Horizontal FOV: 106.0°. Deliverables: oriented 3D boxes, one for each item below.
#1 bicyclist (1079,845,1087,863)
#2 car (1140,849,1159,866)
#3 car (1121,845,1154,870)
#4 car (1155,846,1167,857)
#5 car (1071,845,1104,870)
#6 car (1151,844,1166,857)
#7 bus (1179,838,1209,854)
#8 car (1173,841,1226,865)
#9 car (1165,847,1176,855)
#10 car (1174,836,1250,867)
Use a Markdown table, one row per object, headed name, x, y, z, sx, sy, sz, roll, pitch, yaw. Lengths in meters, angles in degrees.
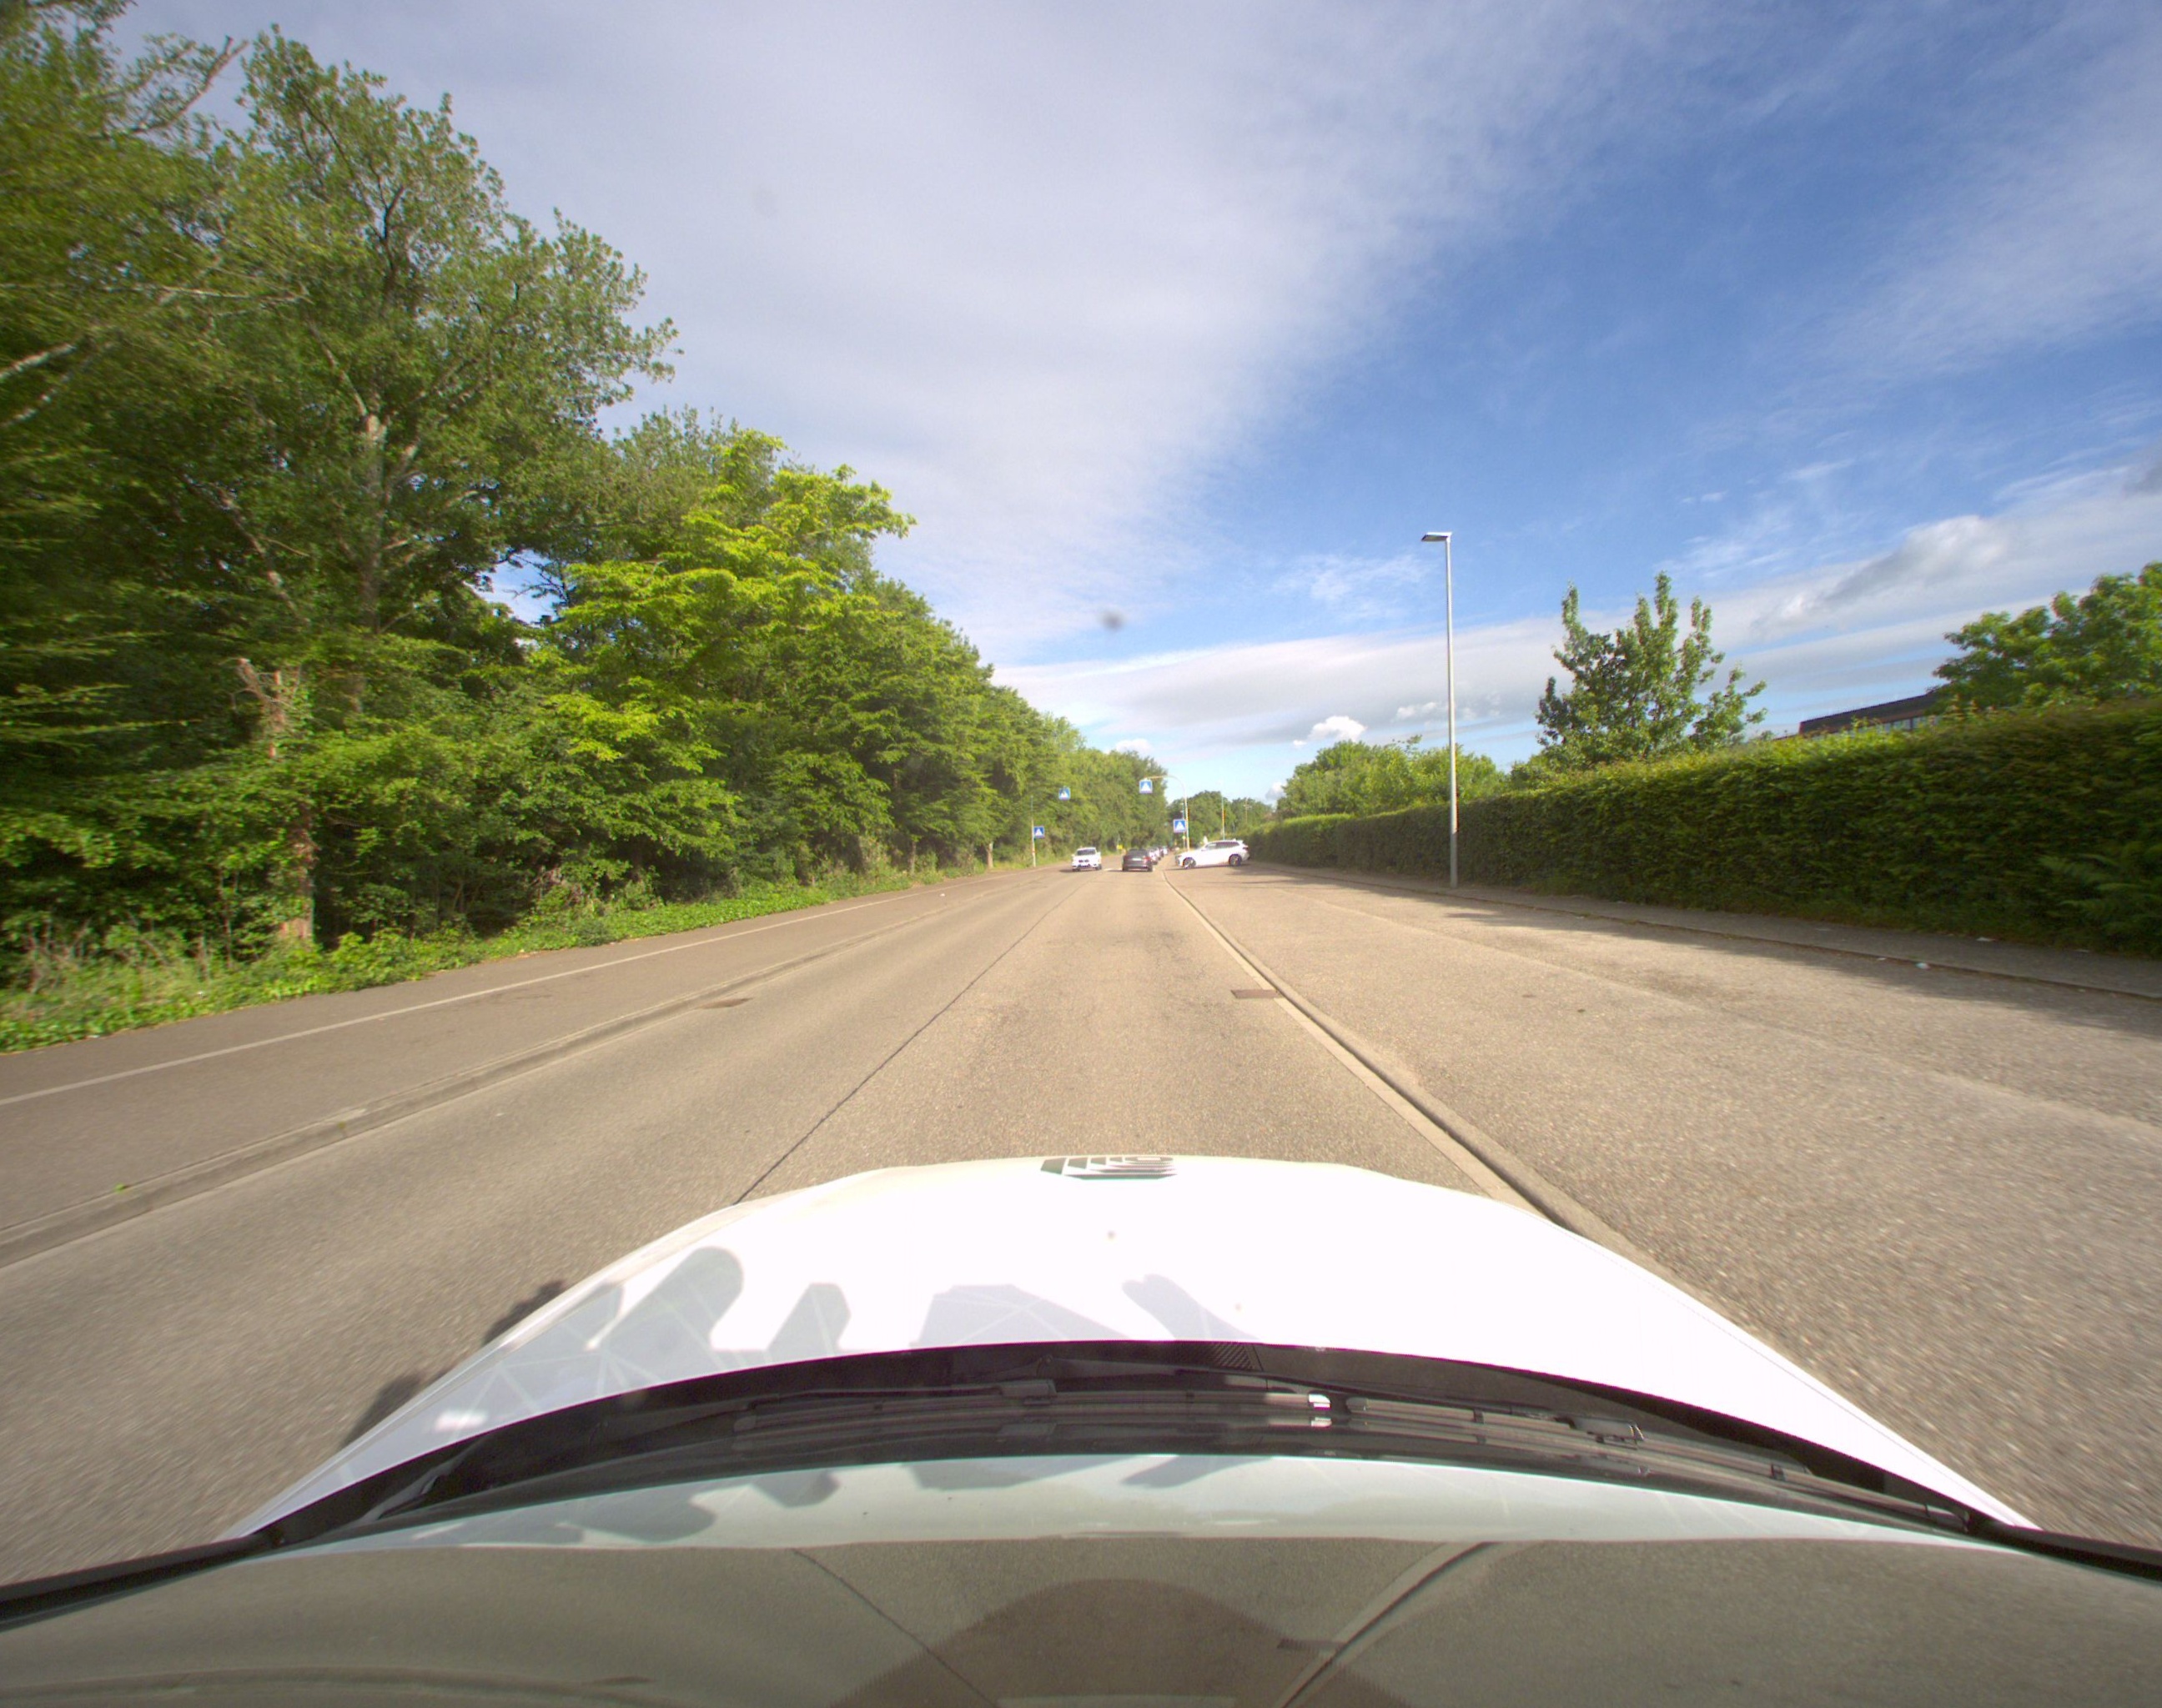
| name | x | y | z | sx | sy | sz | roll | pitch | yaw |
| --- | --- | --- | --- | --- | --- | --- | --- | --- | --- |
| bicyclist | 0.205 | -0.016 | 78.056 | 0.605 | 1.676 | 0.885 | 0 | 0 | 7 |
| car | 5.851 | 0.265 | 69.016 | 1.488 | 1.366 | 3.267 | -2 | 1 | 6 |
| car | 3.456 | 0.194 | 50.360 | 1.958 | 1.434 | 4.340 | 0 | 0 | 3 |
| car | 10.519 | -0.347 | 106.891 | 1.487 | 1.366 | 3.269 | -2 | 0 | 7 |
| car | 0.476 | 0.211 | 56.175 | 1.793 | 1.585 | 4.109 | -3 | 0 | 6 |
| car | 8.312 | -0.417 | 87.286 | 1.487 | 1.304 | 3.269 | -2 | 0 | 8 |
| bus | 21.725 | -1.484 | 156.820 | 5.341 | 2.746 | 2.071 | -3 | 0 | 4 |
| car | 9.046 | -0.086 | 62.528 | 3.839 | 1.490 | 1.695 | -5 | 1 | 5 |
| car | 14.731 | -0.490 | 133.484 | 1.486 | 1.366 | 3.272 | -2 | 0 | 10 |
| car | 8.228 | -0.165 | 51.451 | 4.563 | 1.699 | 1.767 | -3 | 0 | 7 |
